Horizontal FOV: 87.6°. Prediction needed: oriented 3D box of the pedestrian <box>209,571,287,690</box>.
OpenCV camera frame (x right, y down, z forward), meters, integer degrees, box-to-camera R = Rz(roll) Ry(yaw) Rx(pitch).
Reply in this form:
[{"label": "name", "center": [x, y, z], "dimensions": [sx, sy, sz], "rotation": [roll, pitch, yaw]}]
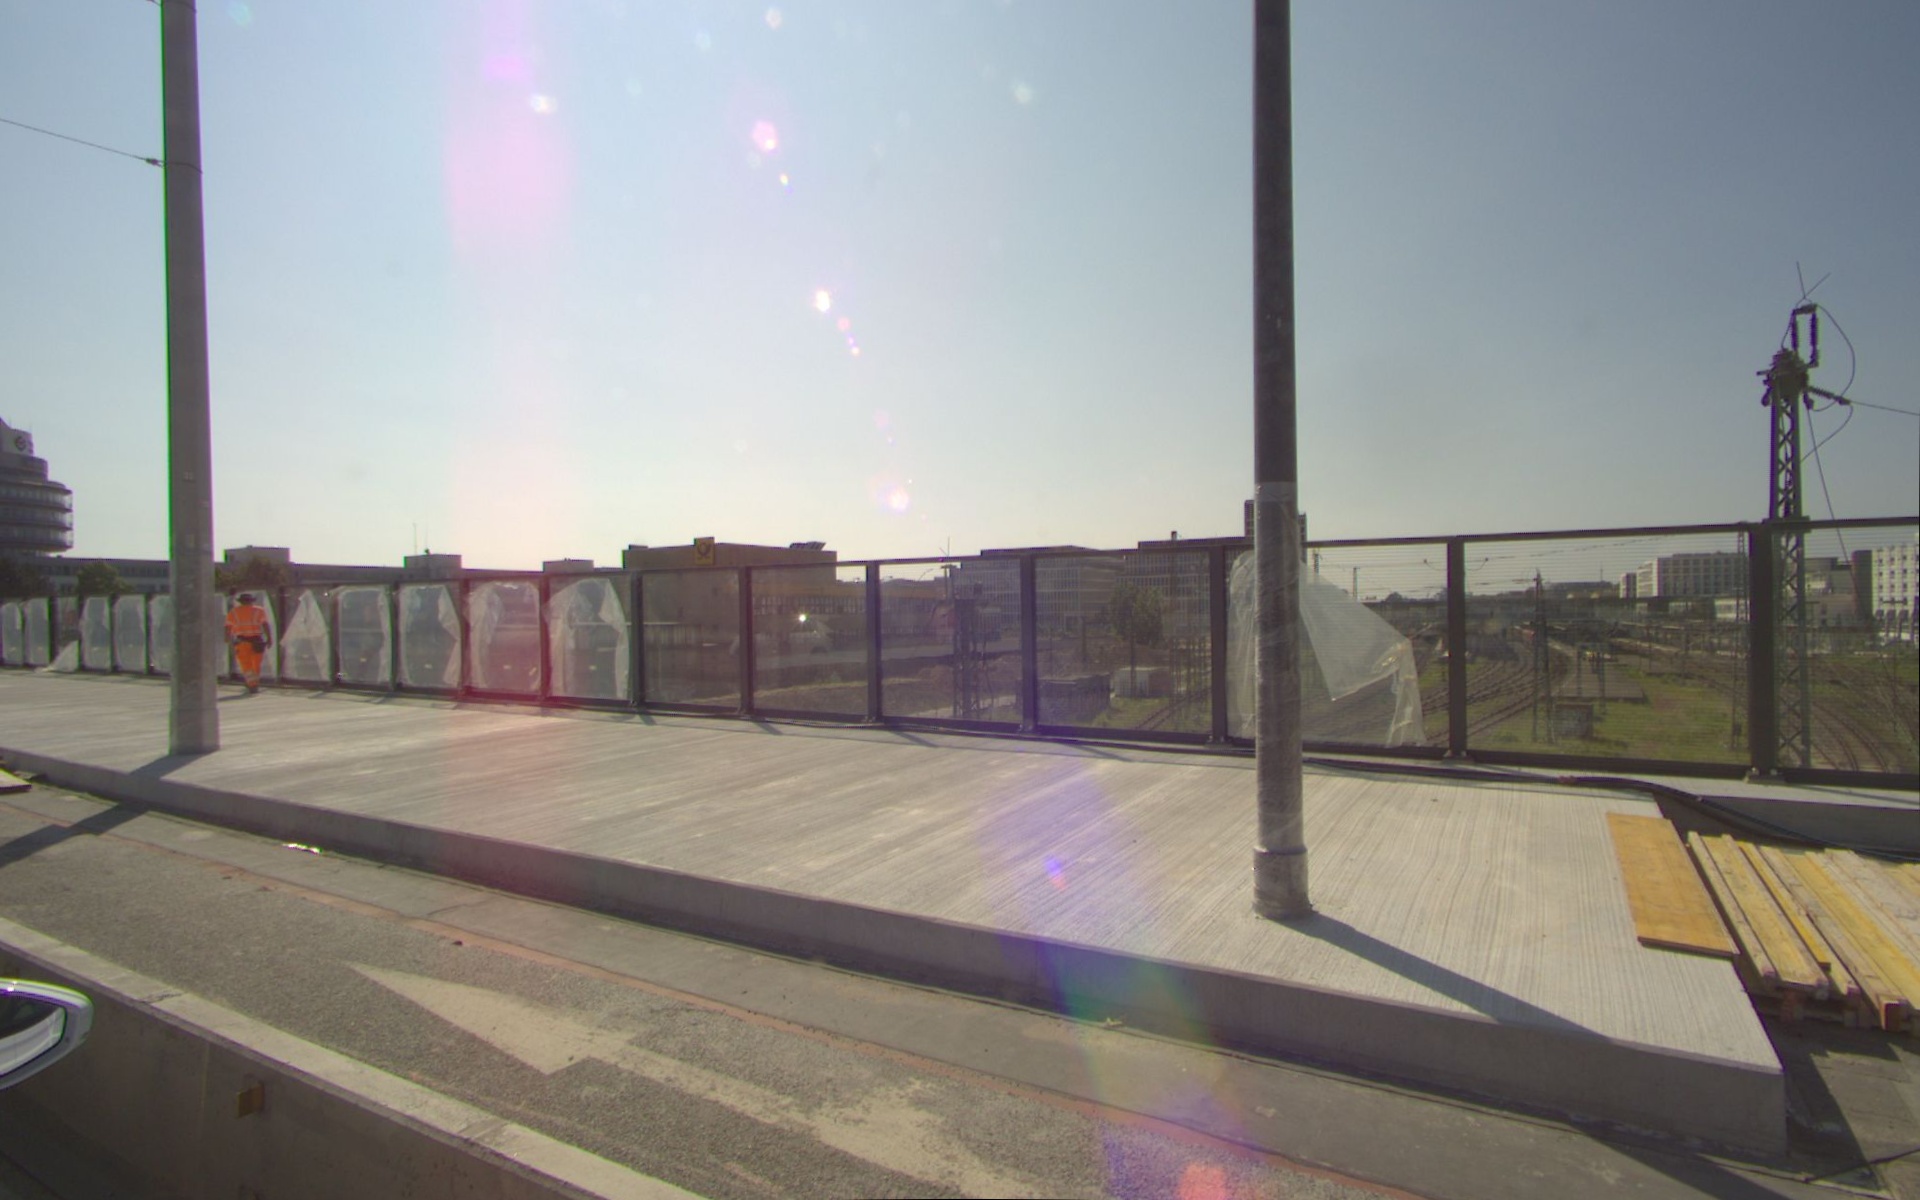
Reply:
[{"label": "pedestrian", "center": [-12.107, 0.501, 17.041], "dimensions": [0.788, 1.961, 0.780], "rotation": [-1, 1, 32]}]
